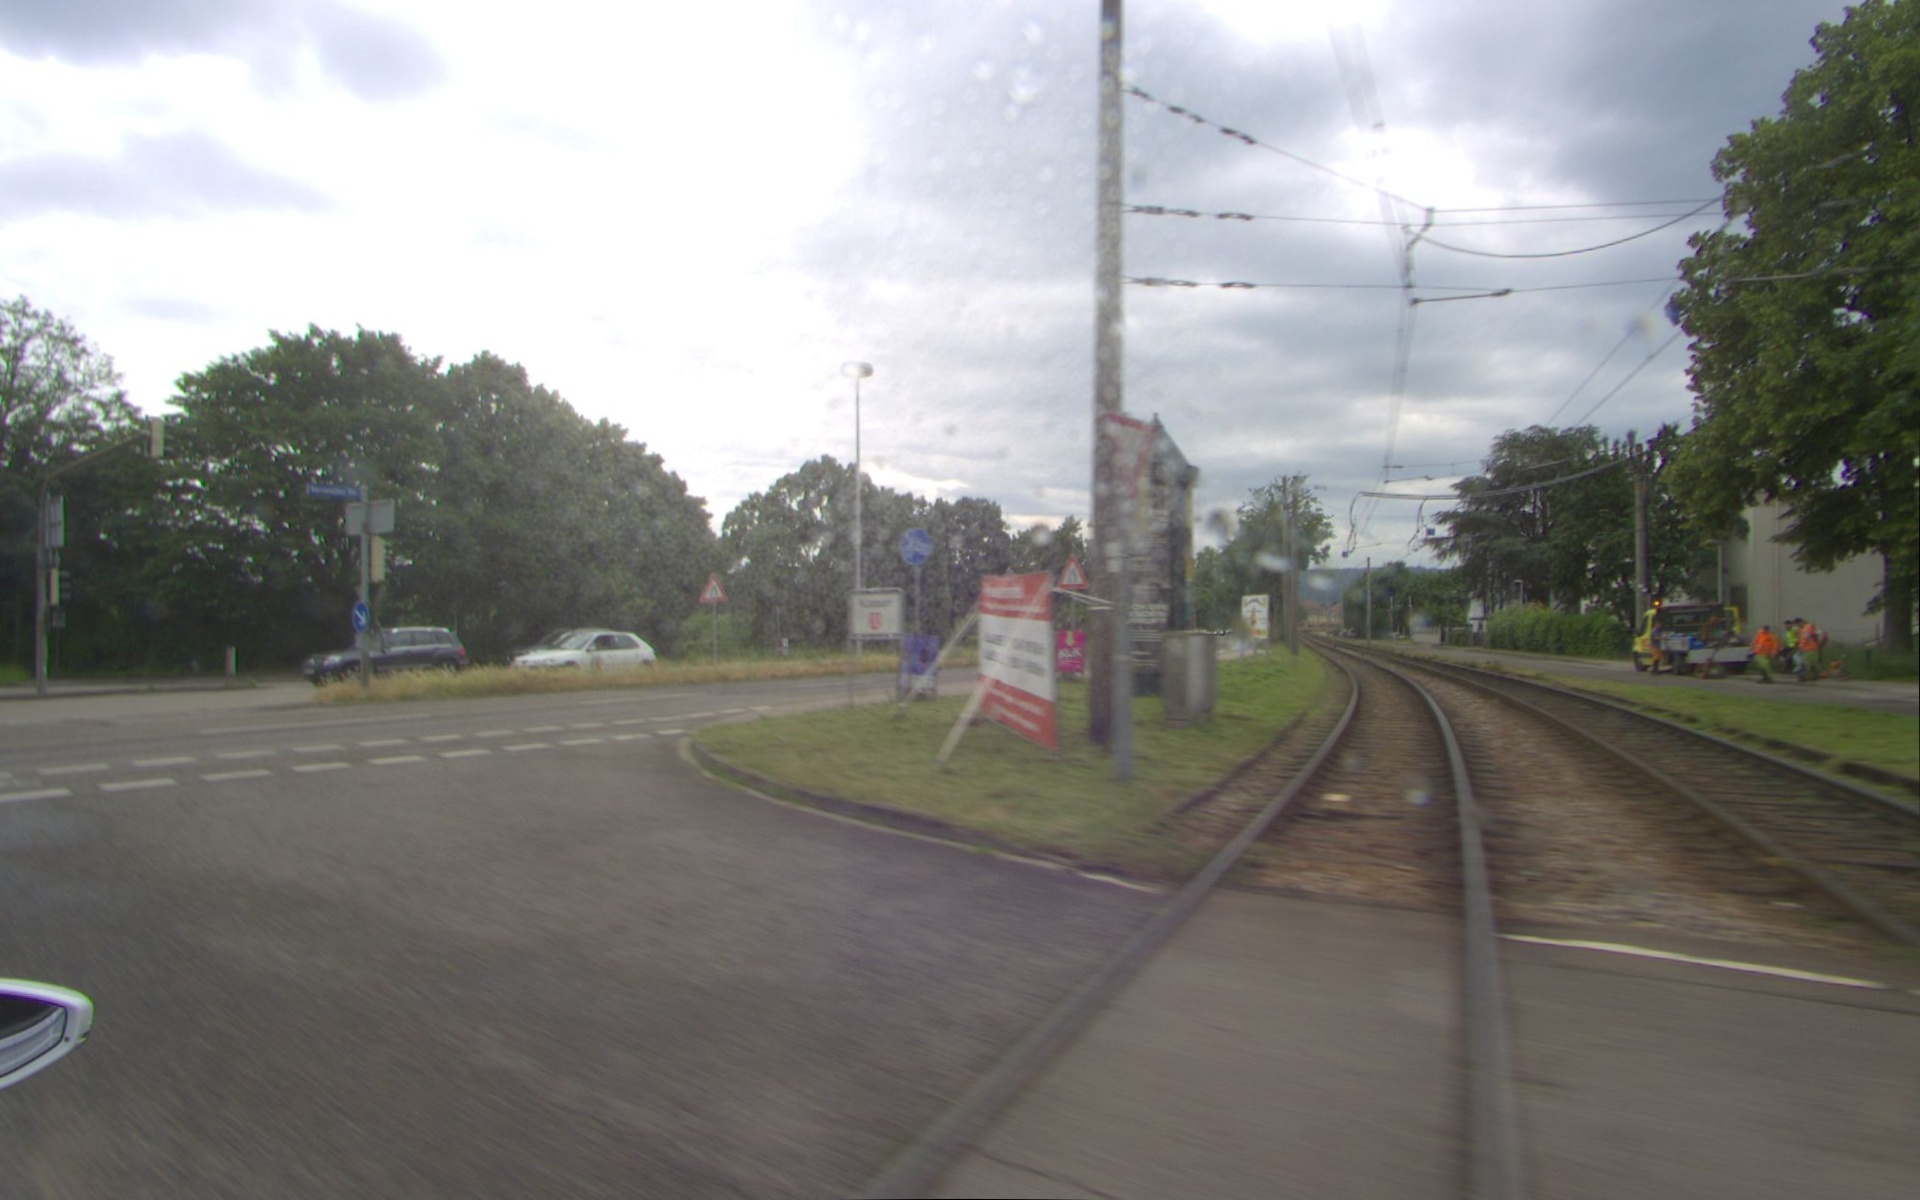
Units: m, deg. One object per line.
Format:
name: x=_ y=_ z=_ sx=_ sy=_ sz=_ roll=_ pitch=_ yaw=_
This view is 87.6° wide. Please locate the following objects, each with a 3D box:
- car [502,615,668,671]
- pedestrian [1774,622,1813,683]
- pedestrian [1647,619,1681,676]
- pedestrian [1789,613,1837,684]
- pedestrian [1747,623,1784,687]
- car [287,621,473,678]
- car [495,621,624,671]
car: x=-10.048 y=1.133 z=27.138 sx=1.622 sy=1.375 sz=4.132 roll=0 pitch=-1 yaw=30
pedestrian: x=25.983 y=1.621 z=31.232 sx=0.598 sy=1.864 sz=0.711 roll=1 pitch=0 yaw=-15
pedestrian: x=23.750 y=1.605 z=33.796 sx=0.756 sy=1.893 sz=0.604 roll=1 pitch=0 yaw=15
pedestrian: x=23.437 y=1.317 z=27.537 sx=0.861 sy=1.879 sz=0.677 roll=1 pitch=0 yaw=32
pedestrian: x=22.822 y=1.556 z=28.378 sx=0.624 sy=1.785 sz=0.575 roll=0 pitch=0 yaw=9
car: x=-17.072 y=1.402 z=29.707 sx=1.818 sy=1.523 sz=4.459 roll=0 pitch=-1 yaw=30
car: x=-13.973 y=1.557 z=35.144 sx=1.849 sy=1.639 sz=3.984 roll=0 pitch=-1 yaw=28
